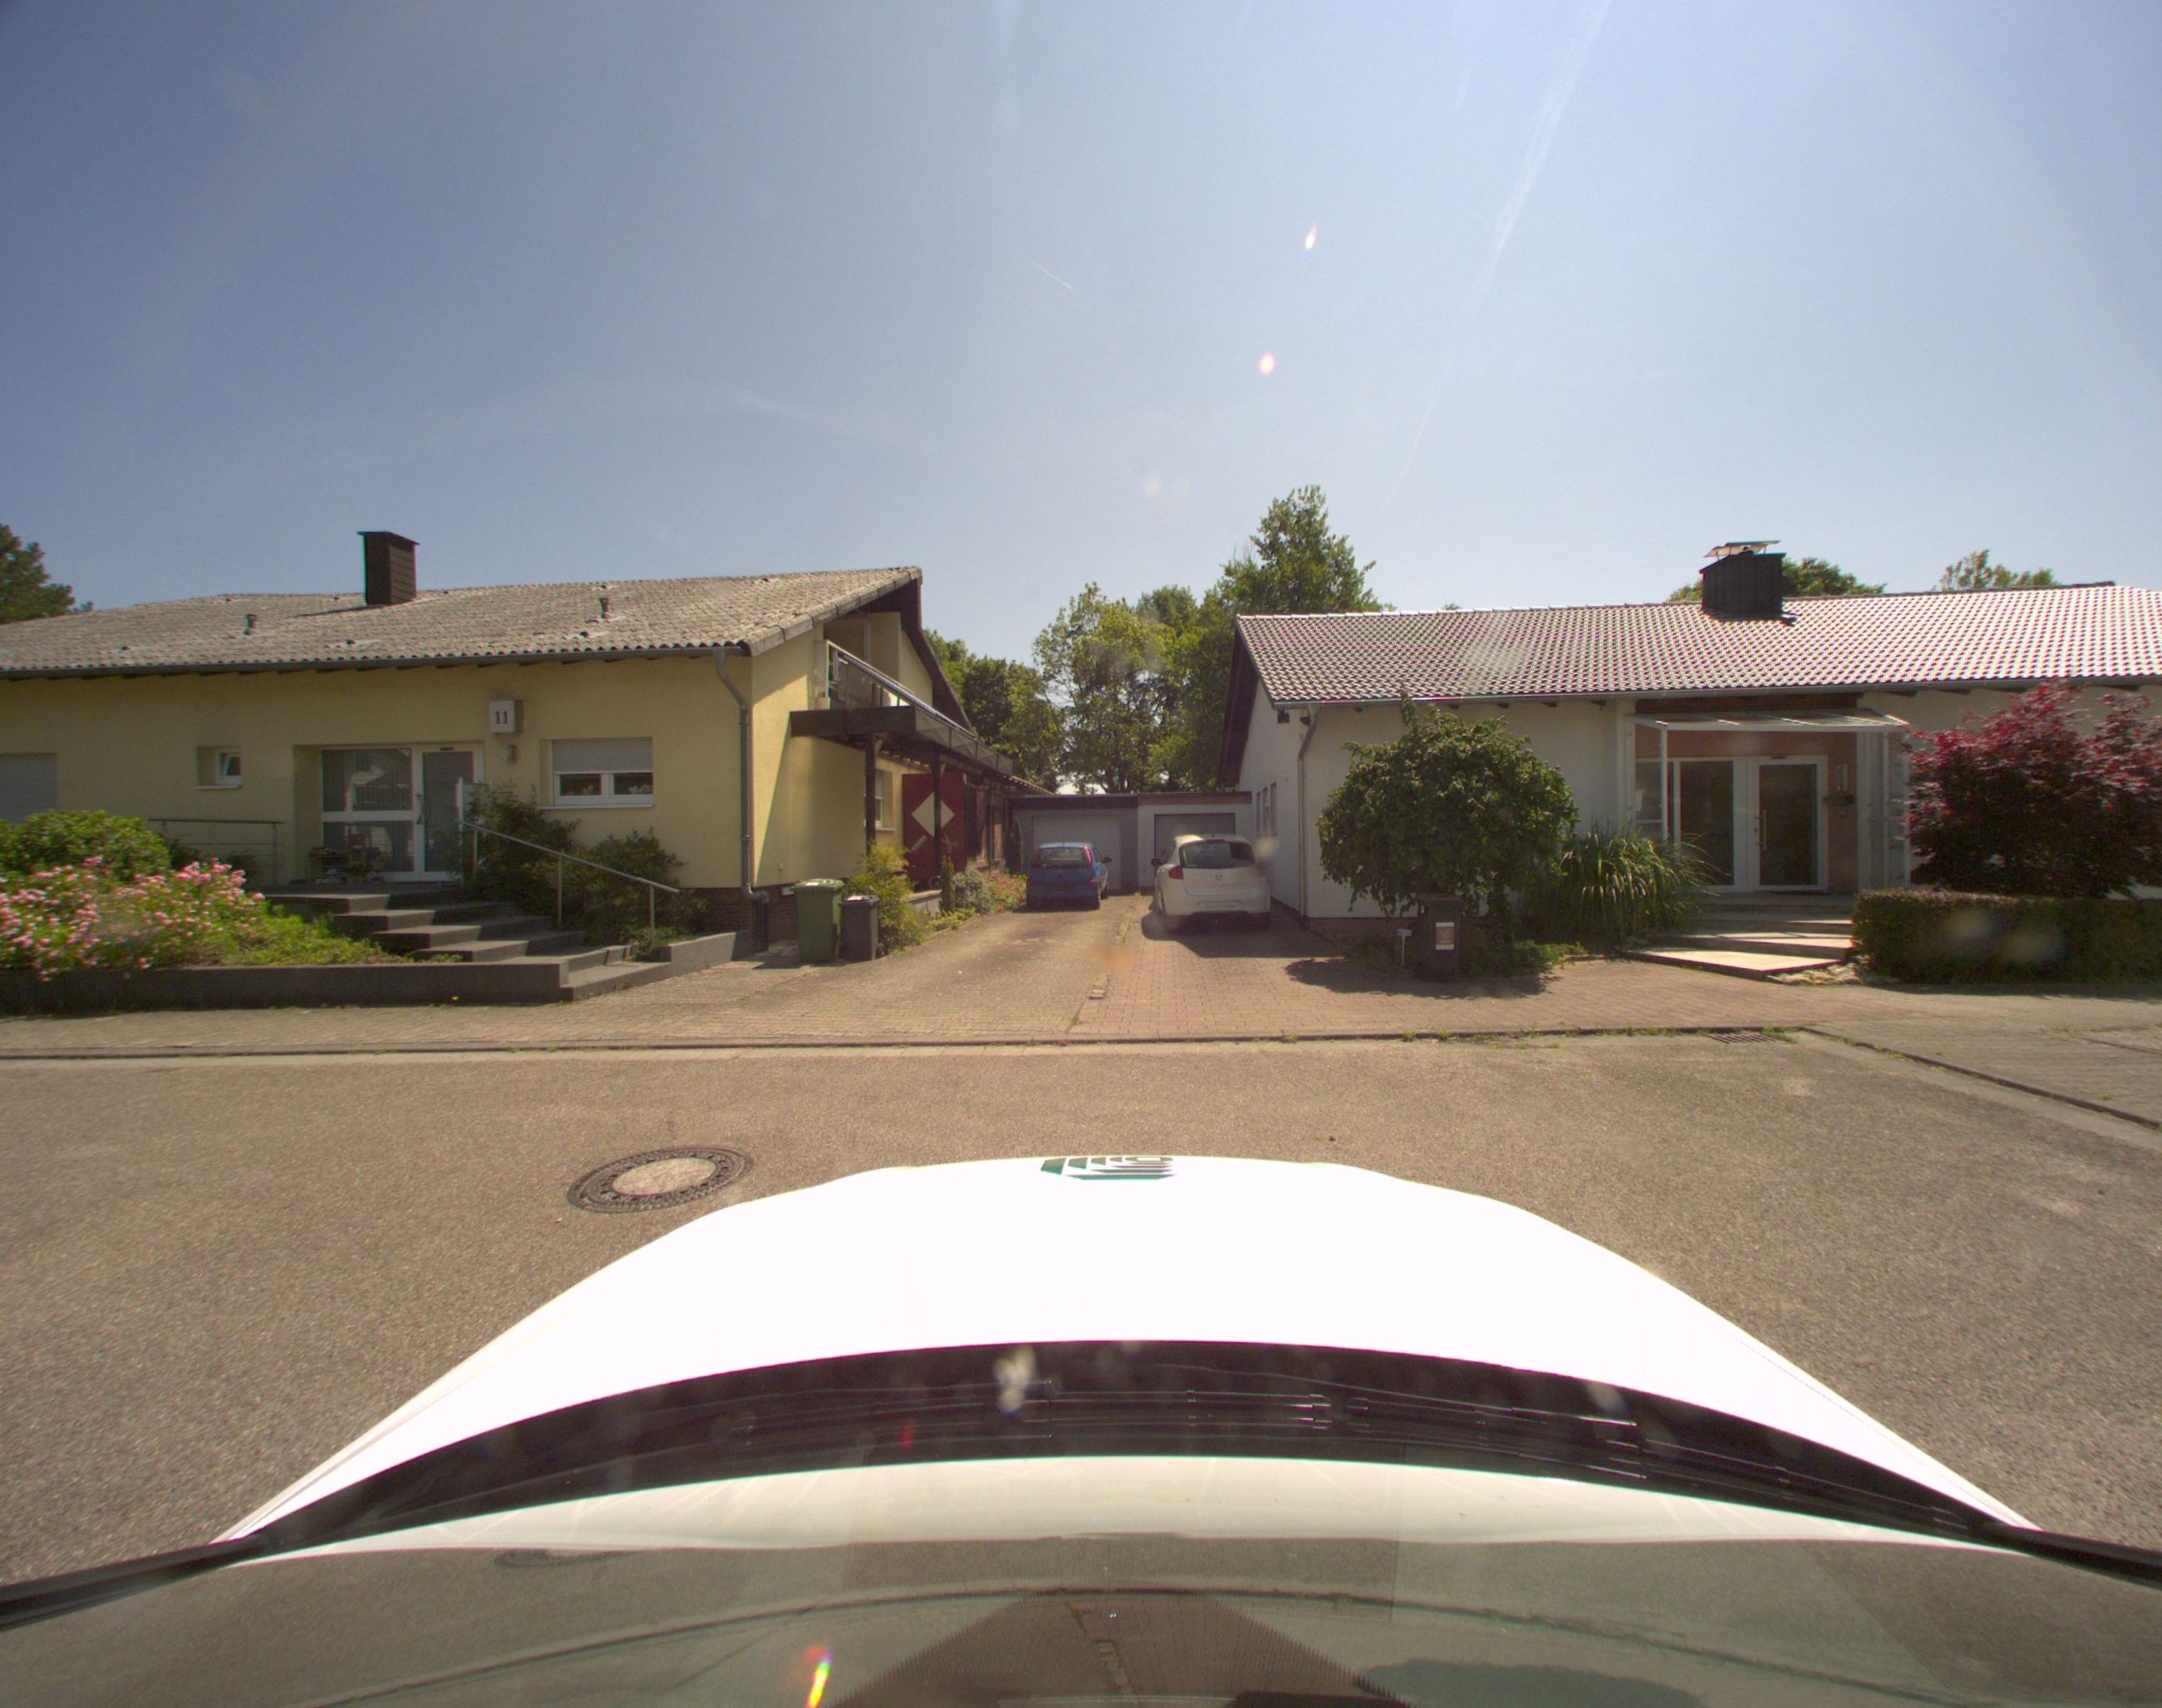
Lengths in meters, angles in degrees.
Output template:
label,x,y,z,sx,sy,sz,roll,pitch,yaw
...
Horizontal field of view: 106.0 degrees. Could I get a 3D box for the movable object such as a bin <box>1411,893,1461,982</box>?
label,x,y,z,sx,sy,sz,roll,pitch,yaw
movable object such as a bin,3.774,0.880,8.679,0.372,0.891,0.391,-1,0,5

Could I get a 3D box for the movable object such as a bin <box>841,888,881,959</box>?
label,x,y,z,sx,sy,sz,roll,pitch,yaw
movable object such as a bin,-2.918,0.913,10.822,0.405,0.891,0.426,-1,0,-2

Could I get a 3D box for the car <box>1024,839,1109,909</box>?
label,x,y,z,sx,sy,sz,roll,pitch,yaw
car,-0.260,0.400,19.044,1.606,1.454,3.260,0,2,6

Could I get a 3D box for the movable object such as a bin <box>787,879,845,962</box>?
label,x,y,z,sx,sy,sz,roll,pitch,yaw
movable object such as a bin,-3.518,0.869,10.832,0.589,1.041,0.491,-1,0,-2

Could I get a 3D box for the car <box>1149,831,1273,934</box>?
label,x,y,z,sx,sy,sz,roll,pitch,yaw
car,2.161,0.402,14.485,1.739,1.568,4.003,-1,1,3

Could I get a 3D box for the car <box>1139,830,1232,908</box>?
label,x,y,z,sx,sy,sz,roll,pitch,yaw
car,2.444,0.274,19.334,1.913,1.607,4.008,-1,1,6
